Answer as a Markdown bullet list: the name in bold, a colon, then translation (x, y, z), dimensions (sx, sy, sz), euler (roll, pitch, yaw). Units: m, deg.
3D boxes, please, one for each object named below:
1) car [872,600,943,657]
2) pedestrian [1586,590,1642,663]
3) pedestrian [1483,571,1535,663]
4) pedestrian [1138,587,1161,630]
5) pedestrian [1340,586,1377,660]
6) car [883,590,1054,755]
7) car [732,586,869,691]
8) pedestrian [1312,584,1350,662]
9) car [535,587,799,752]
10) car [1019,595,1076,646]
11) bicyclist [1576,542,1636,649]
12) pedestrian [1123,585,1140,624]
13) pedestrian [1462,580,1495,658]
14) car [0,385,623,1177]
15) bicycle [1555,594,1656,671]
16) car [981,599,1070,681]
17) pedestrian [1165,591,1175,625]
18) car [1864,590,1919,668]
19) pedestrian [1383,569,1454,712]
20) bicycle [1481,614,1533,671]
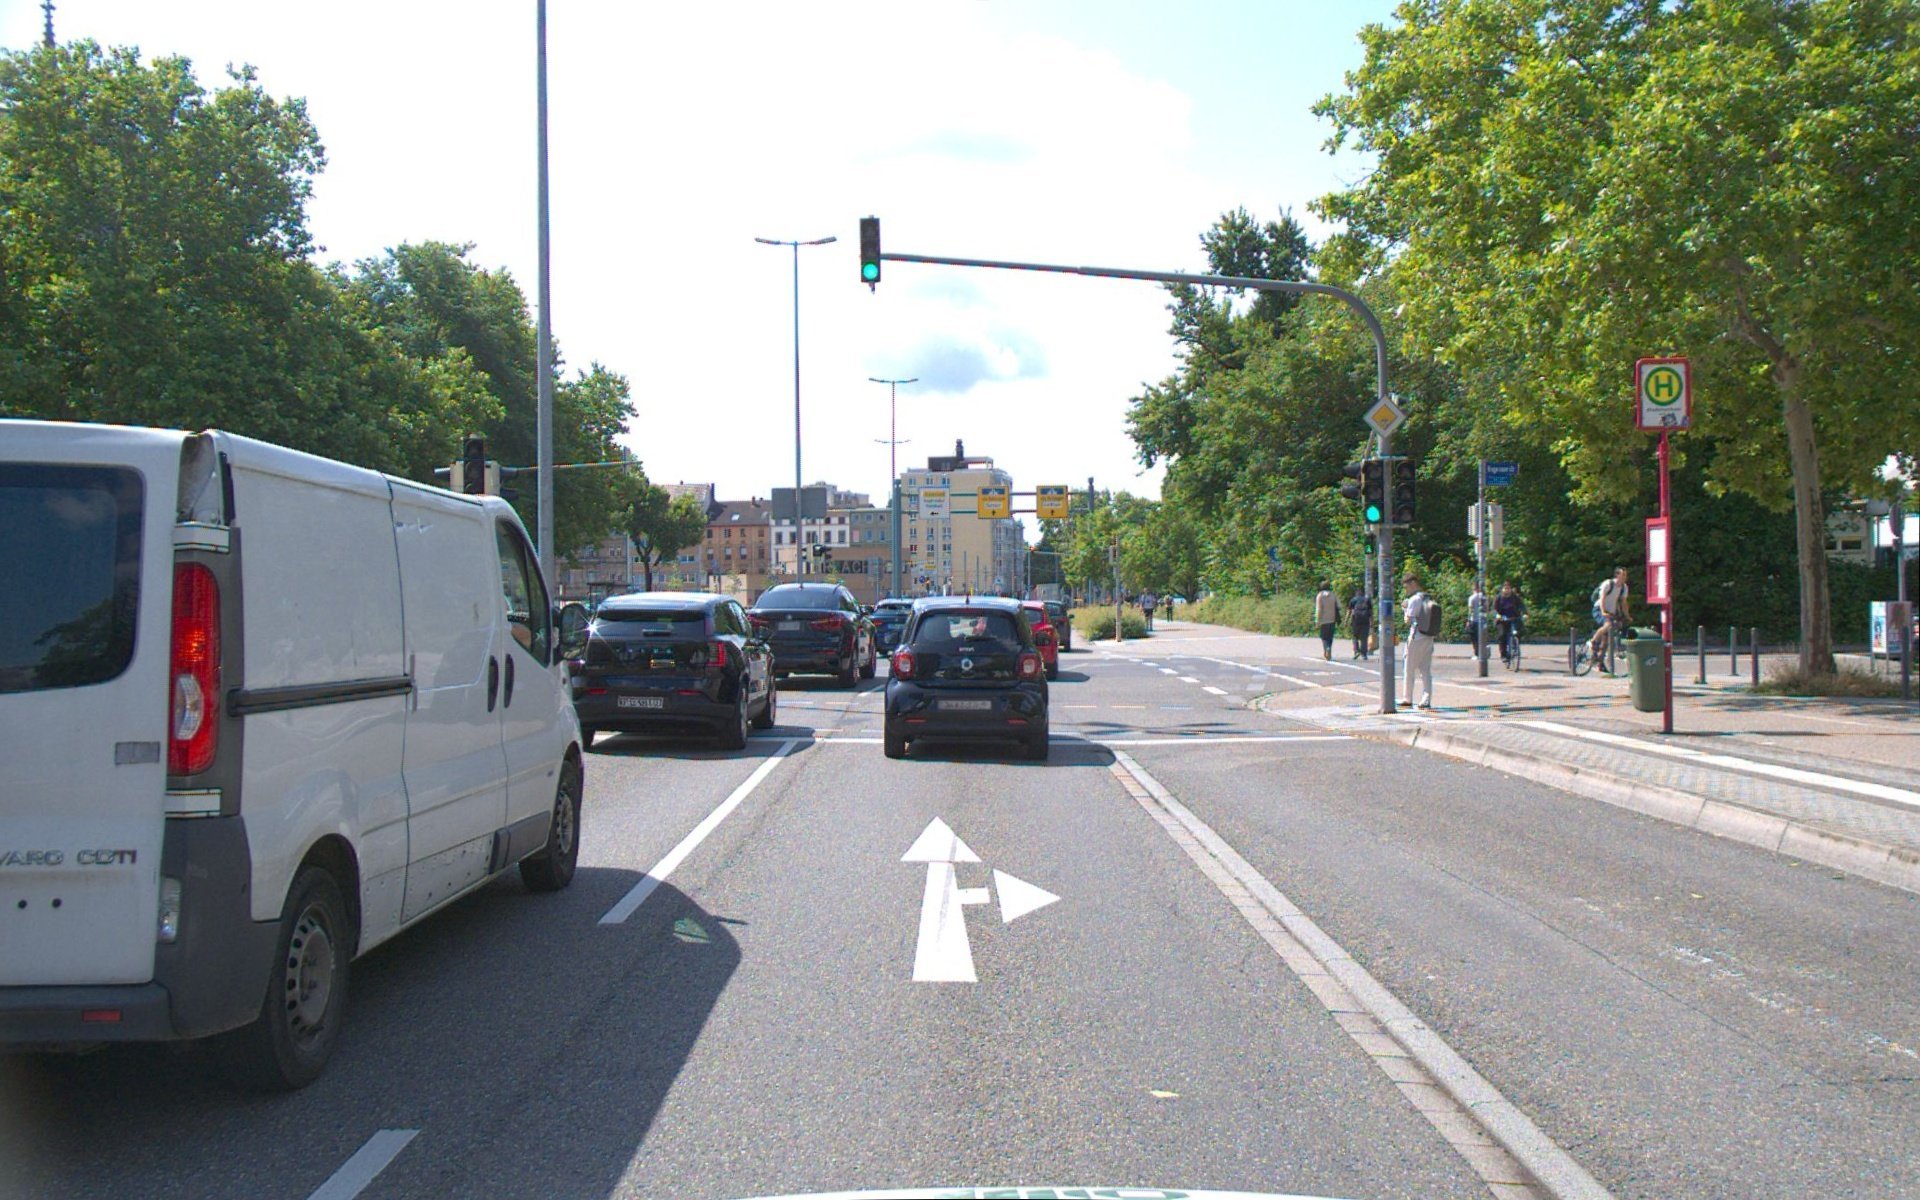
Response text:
- **car**: translation (-1.278, 0.676, 41.260), dimensions (1.578, 1.348, 3.518), euler (0, 0, 1)
- **pedestrian**: translation (15.421, 0.612, 39.020), dimensions (0.838, 1.654, 1.019), euler (-2, 1, -7)
- **pedestrian**: translation (11.286, 0.337, 34.019), dimensions (0.835, 1.851, 1.177), euler (1, 0, 11)
- **pedestrian**: translation (7.813, 0.345, 68.297), dimensions (0.833, 1.730, 0.931), euler (-2, -1, 1)
- **pedestrian**: translation (9.434, 0.530, 39.215), dimensions (0.778, 1.734, 1.183), euler (0, 1, 9)
- **car**: translation (0.120, 0.679, 17.195), dimensions (1.578, 1.511, 3.518), euler (1, 0, 1)
- **car**: translation (-2.633, 0.590, 28.271), dimensions (1.789, 1.629, 4.394), euler (1, 1, 1)
- **pedestrian**: translation (8.474, 0.508, 37.841), dimensions (0.778, 1.734, 1.183), euler (0, 1, 9)
- **car**: translation (-3.020, 0.640, 18.162), dimensions (1.976, 1.556, 4.887), euler (0, 0, 1)
- **car**: translation (2.582, 0.589, 49.236), dimensions (1.578, 1.436, 3.518), euler (1, 0, 1)
- **bicyclist**: translation (11.500, -0.072, 29.464), dimensions (0.650, 1.878, 0.758), euler (1, -1, -16)
- **pedestrian**: translation (8.964, 0.241, 86.501), dimensions (0.821, 2.003, 0.861), euler (-1, 0, -1)
- **pedestrian**: translation (12.430, 0.444, 39.642), dimensions (0.656, 1.852, 0.704), euler (0, 1, 9)
- **car**: translation (-2.853, 0.450, 6.743), dimensions (1.965, 1.989, 5.193), euler (0, 0, -1)
- **bicycle**: translation (11.476, 0.565, 29.474), dimensions (0.650, 1.319, 1.865), euler (1, -1, -17)
- **car**: translation (1.226, 0.720, 31.586), dimensions (1.578, 1.436, 3.518), euler (1, 0, 1)
- **pedestrian**: translation (12.111, 0.455, 95.374), dimensions (0.491, 1.923, 0.560), euler (1, -1, -1)
- **car**: translation (19.863, 0.522, 31.071), dimensions (4.832, 1.425, 1.723), euler (-1, -2, -2)
- **pedestrian**: translation (6.070, 0.531, 21.913), dimensions (0.589, 1.832, 0.603), euler (-2, 0, -36)
- **bicycle**: translation (11.226, 0.864, 33.983), dimensions (0.798, 1.091, 1.893), euler (0, 1, 11)
